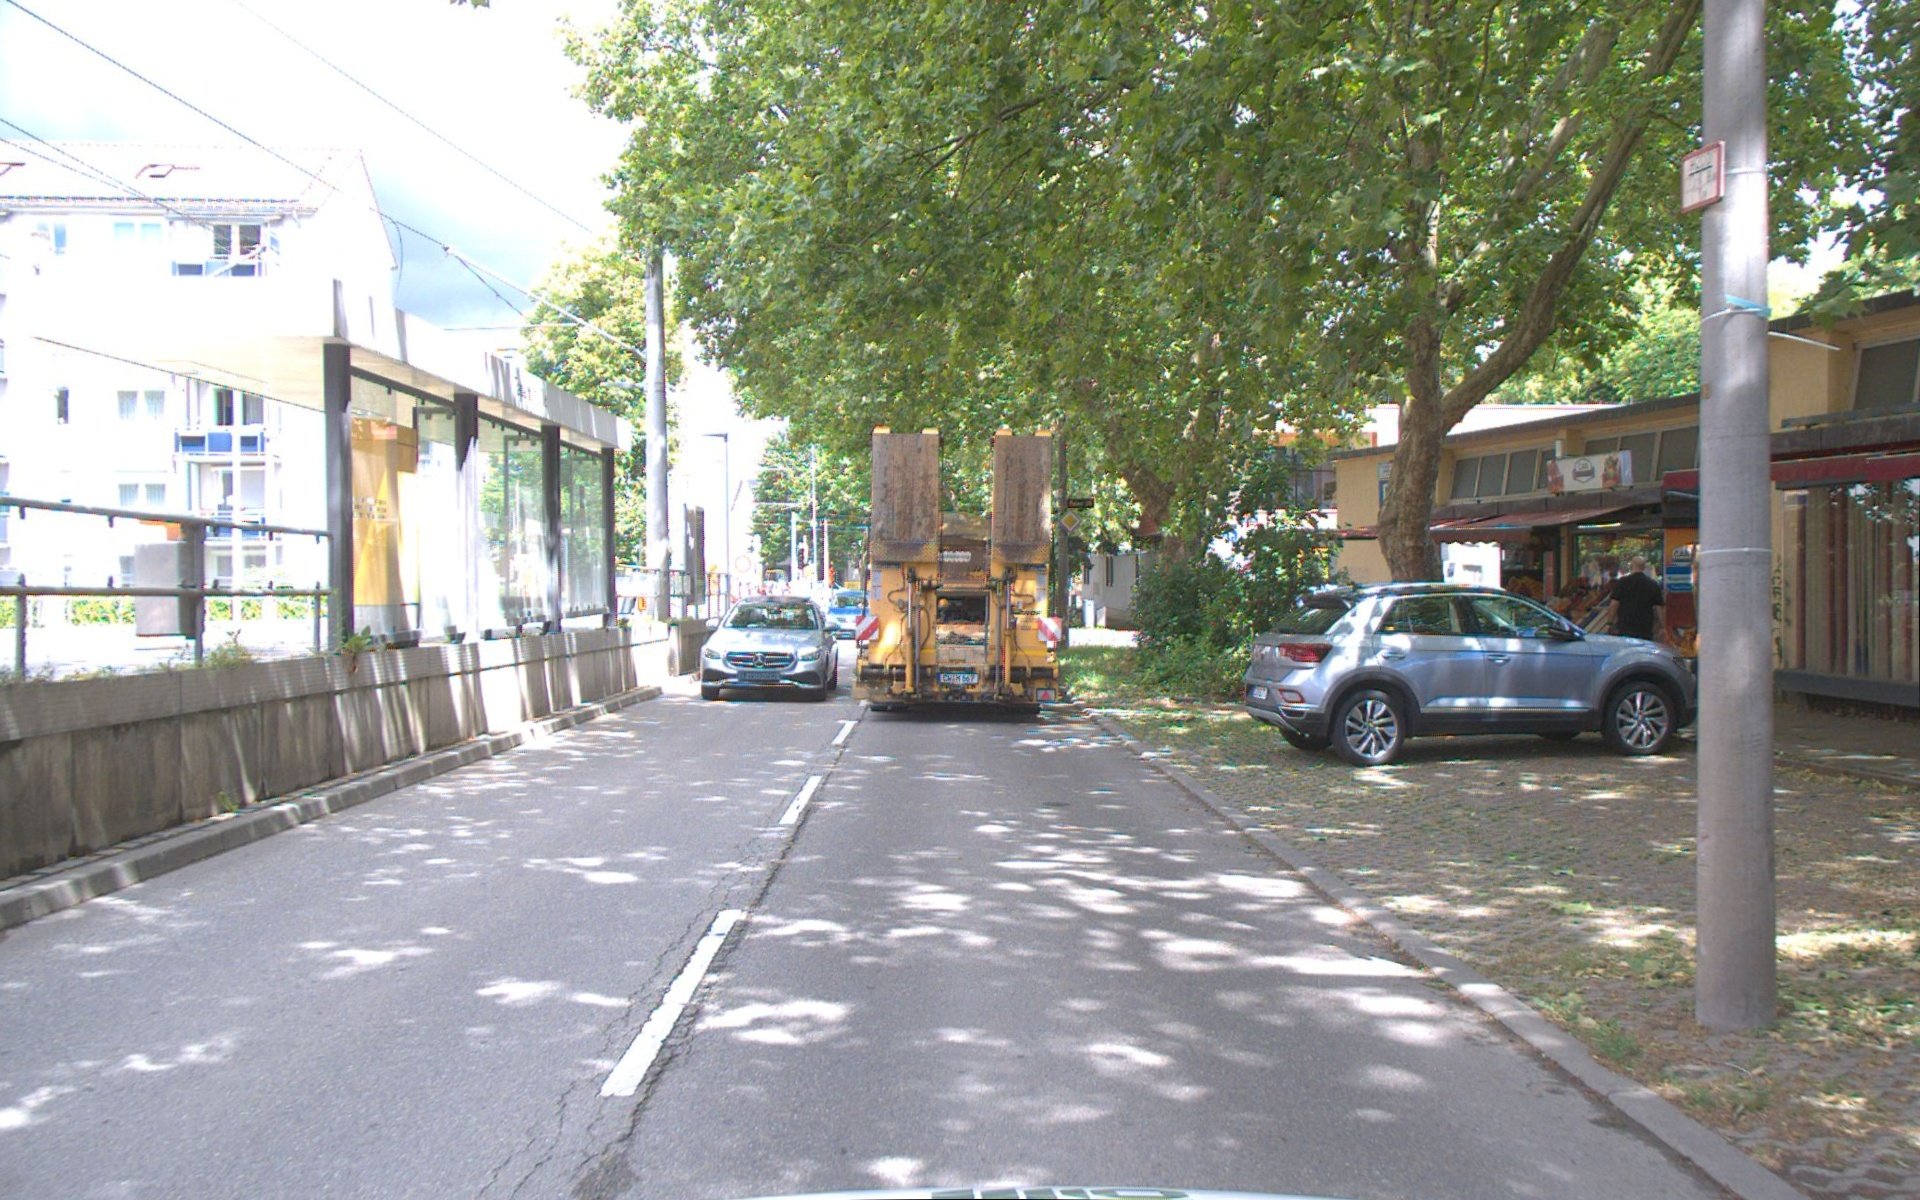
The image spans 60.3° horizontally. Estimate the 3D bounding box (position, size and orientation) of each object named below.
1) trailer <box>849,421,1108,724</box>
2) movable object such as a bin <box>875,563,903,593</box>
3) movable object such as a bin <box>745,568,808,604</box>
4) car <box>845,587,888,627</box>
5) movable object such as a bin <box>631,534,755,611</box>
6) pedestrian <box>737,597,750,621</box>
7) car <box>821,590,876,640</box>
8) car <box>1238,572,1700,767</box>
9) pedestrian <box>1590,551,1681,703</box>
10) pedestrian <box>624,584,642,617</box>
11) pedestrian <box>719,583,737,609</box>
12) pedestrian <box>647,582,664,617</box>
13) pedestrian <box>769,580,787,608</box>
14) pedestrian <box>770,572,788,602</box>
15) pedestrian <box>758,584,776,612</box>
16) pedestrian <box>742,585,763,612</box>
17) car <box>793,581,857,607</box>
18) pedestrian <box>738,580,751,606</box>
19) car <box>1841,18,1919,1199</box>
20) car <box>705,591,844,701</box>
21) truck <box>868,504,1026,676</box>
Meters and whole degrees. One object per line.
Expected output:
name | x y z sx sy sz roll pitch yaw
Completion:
trailer | -0.014 -0.345 25.458 3.091 3.615 11.091 1 0 -3
movable object such as a bin | -4.845 -1.486 113.287 1.369 2.049 2.558 1 0 10
movable object such as a bin | -13.993 -1.096 126.122 4.280 2.675 2.218 1 0 26
car | -4.061 0.313 72.538 1.718 1.662 4.117 1 0 -2
movable object such as a bin | -19.633 -1.994 121.426 9.020 5.509 2.662 1 0 26
pedestrian | -14.956 0.630 114.084 0.869 1.673 0.835 1 0 -9
car | -3.699 0.501 55.365 1.662 1.592 3.859 0 0 -1
car | 4.658 0.596 15.383 3.757 1.589 1.617 -2 0 -8
pedestrian | 8.064 0.315 19.768 0.744 1.755 0.658 -2 0 -6
pedestrian | -16.379 0.028 82.866 0.717 1.654 0.867 0 0 -1
pedestrian | -15.068 -0.287 107.308 0.877 1.673 0.890 1 0 -32
pedestrian | -15.308 -0.007 83.190 0.685 1.748 0.867 1 0 -1
pedestrian | -12.111 -0.403 110.298 0.868 1.900 0.836 1 0 28
pedestrian | -11.825 -0.850 107.979 0.876 1.900 0.829 1 0 -30
pedestrian | -12.420 -0.128 106.512 0.867 1.791 0.837 1 0 17
pedestrian | -13.568 -0.116 108.136 0.873 1.745 1.103 1 0 45
car | -11.280 -0.530 138.107 5.005 2.138 1.969 -1 1 -16
pedestrian | -15.925 -0.510 122.142 0.820 1.900 0.885 1 0 -13
car | 2.938 0.133 0.175 1.866 2.626 6.832 -2 0 -1
car | -2.764 0.636 25.534 1.726 1.507 4.575 1 0 -2
truck | -0.412 -0.197 34.931 2.929 3.190 7.883 1 0 -3
